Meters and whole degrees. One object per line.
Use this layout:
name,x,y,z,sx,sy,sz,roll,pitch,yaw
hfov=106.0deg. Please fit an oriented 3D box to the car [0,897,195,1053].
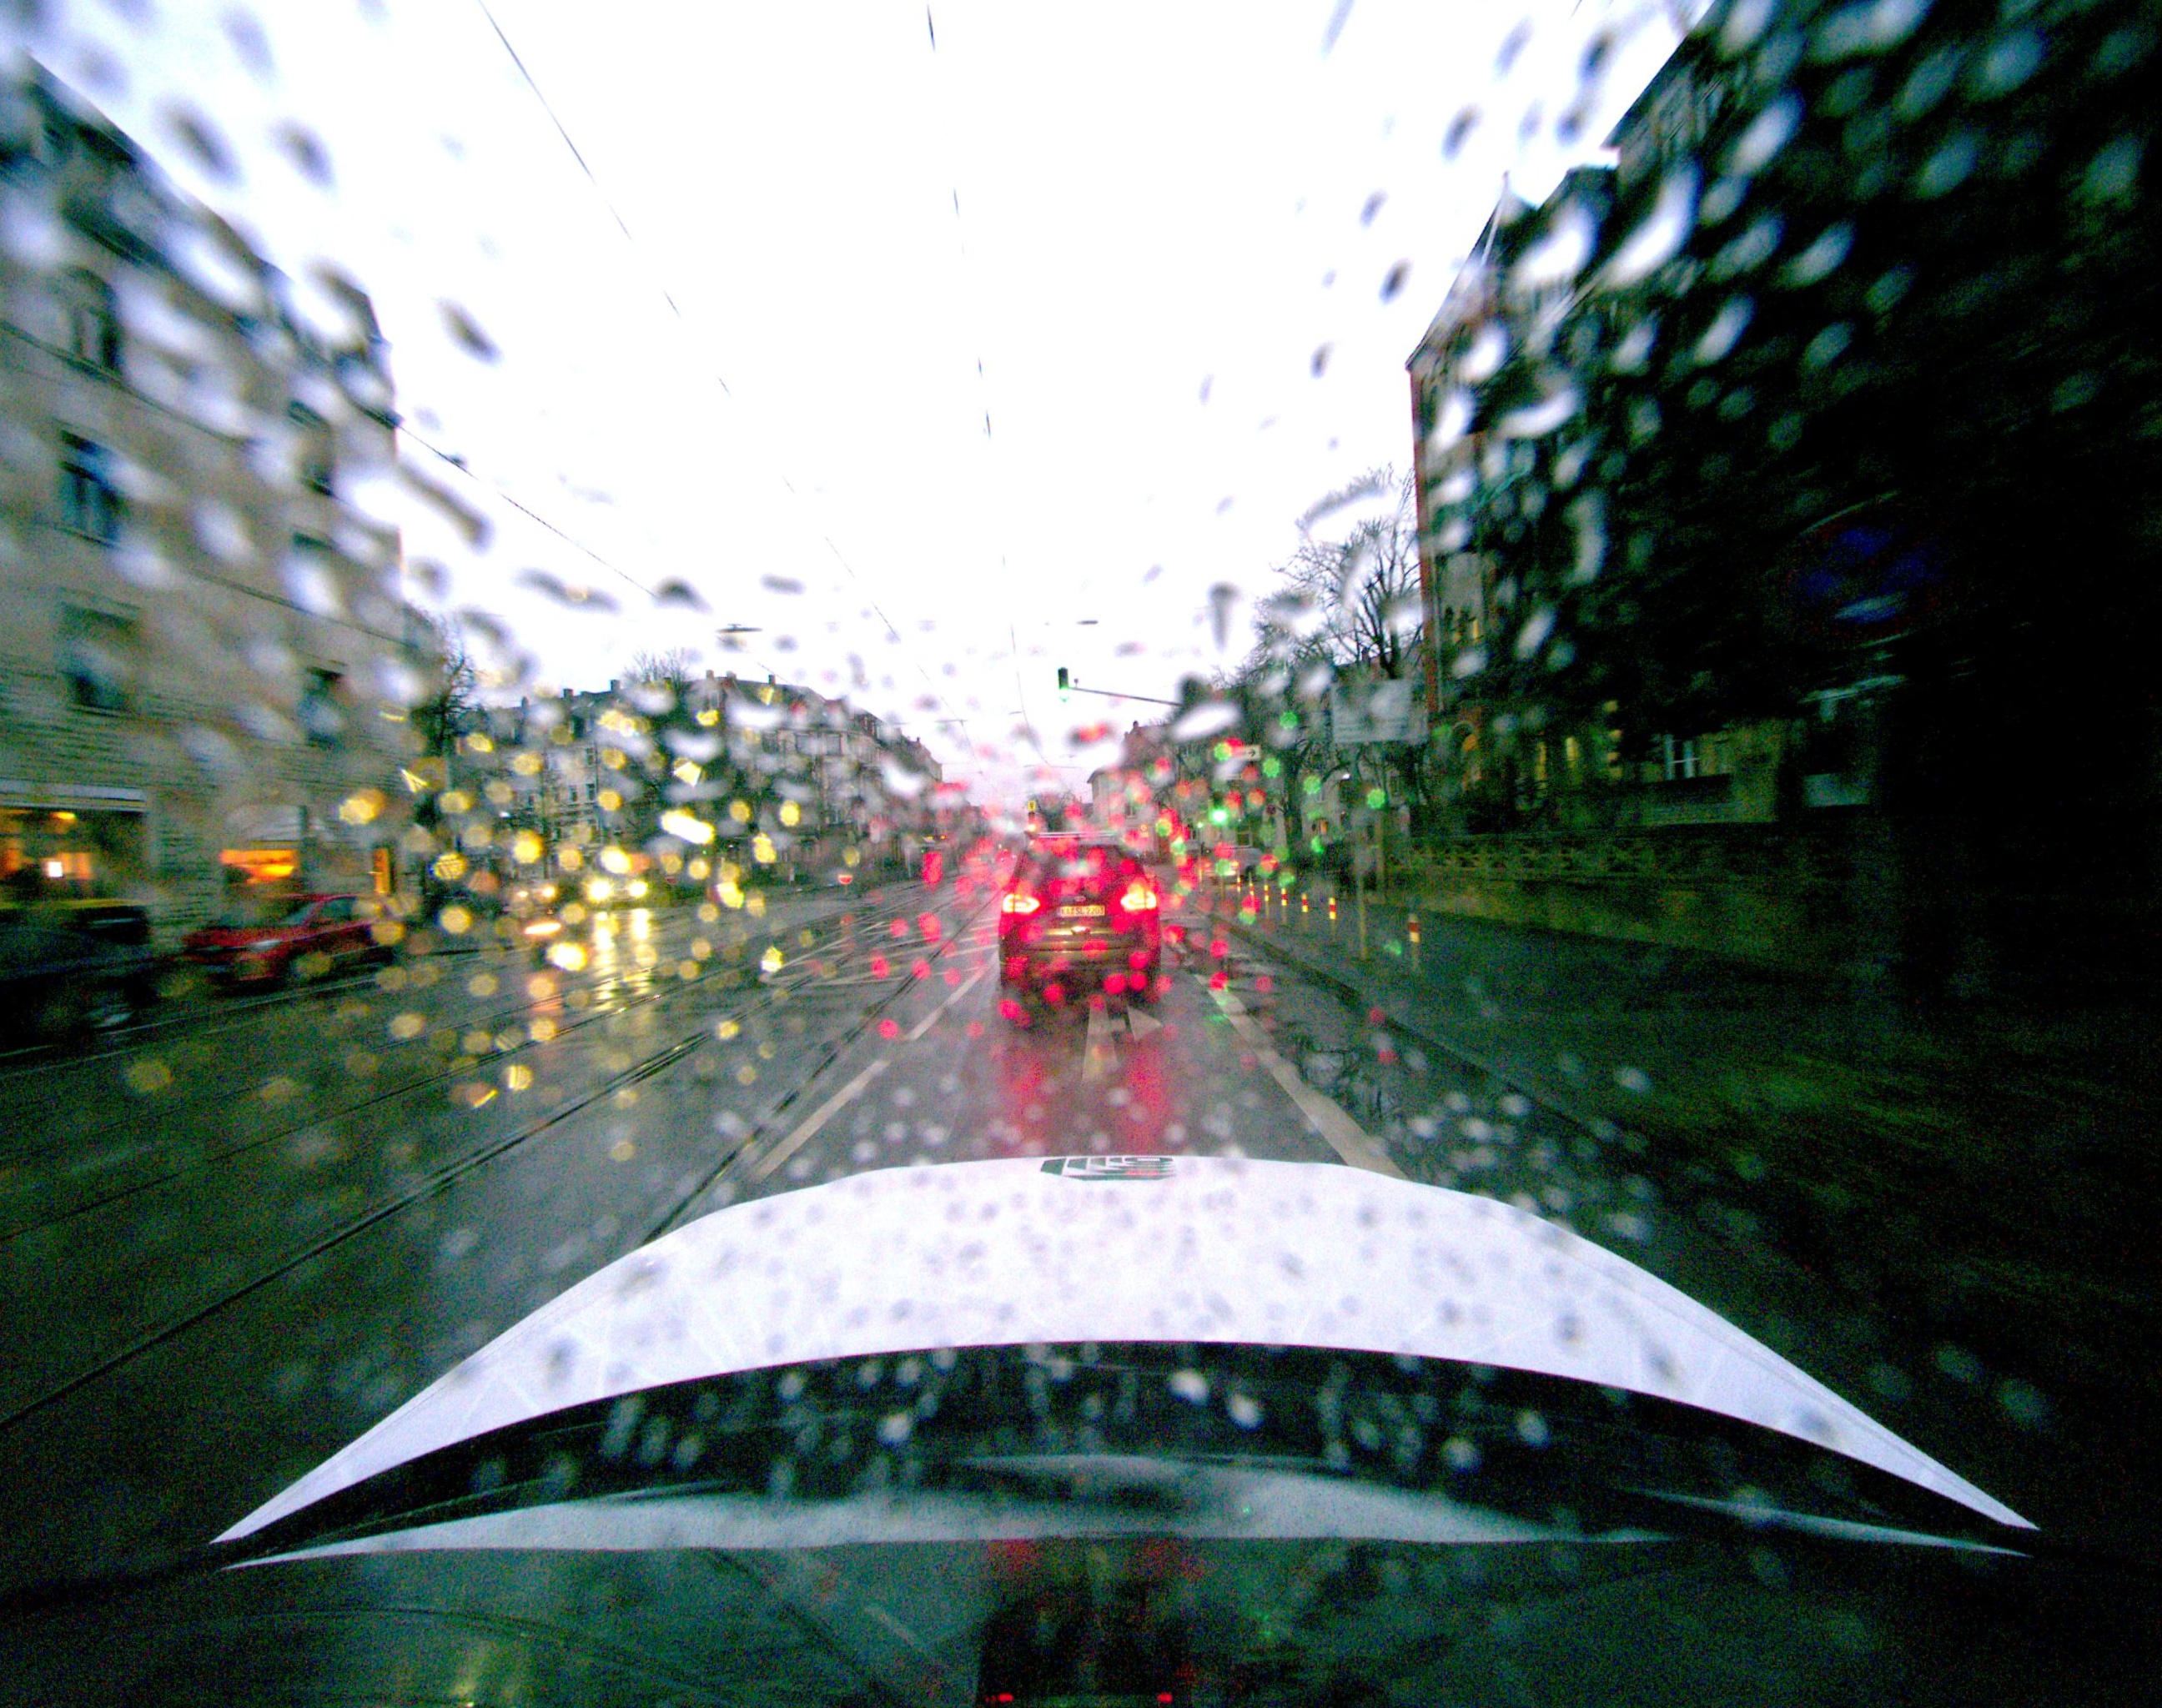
car,-13.268,1.414,9.020,1.983,1.645,4.622,2,-1,-5

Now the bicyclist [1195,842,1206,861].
bicyclist,12.363,-0.281,84.380,0.799,1.919,0.712,-3,0,29

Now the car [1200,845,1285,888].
car,6.913,0.511,34.669,1.692,1.662,4.025,-3,-1,41

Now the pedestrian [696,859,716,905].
pedestrian,-16.945,1.253,36.857,0.707,2.013,0.655,-3,0,-22

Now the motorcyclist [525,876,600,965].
motorcyclist,-9.759,1.223,15.384,0.845,1.548,1.010,-3,0,-13

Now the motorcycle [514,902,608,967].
motorcycle,-9.731,1.481,15.345,0.856,0.991,1.910,-3,0,-13

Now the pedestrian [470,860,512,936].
pedestrian,-15.949,1.183,22.019,0.748,2.014,0.652,-3,-1,33

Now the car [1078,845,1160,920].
car,1.234,0.783,24.454,1.697,2.014,4.313,-2,-1,12

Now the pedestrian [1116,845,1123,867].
pedestrian,3.502,0.202,74.631,0.593,2.014,0.631,-2,-1,1

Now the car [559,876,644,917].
car,-21.998,1.920,37.327,3.948,1.673,2.035,-2,0,39

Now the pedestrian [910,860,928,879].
pedestrian,-10.943,1.027,54.991,1.045,1.200,0.884,-2,-1,-2

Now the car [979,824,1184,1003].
car,-0.009,0.612,10.798,2.097,1.816,4.659,-1,0,-1

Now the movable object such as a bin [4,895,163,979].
movable object such as a bin,-18.245,1.488,14.941,1.291,1.367,1.251,-2,0,-3

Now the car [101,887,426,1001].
car,-14.205,1.470,14.576,2.036,1.552,4.021,1,0,-8

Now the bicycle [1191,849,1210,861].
bicycle,12.364,0.086,84.360,1.832,1.183,0.718,-3,0,29

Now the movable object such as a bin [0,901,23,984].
movable object such as a bin,-18.671,1.513,13.490,0.897,1.377,1.005,-2,0,-3
